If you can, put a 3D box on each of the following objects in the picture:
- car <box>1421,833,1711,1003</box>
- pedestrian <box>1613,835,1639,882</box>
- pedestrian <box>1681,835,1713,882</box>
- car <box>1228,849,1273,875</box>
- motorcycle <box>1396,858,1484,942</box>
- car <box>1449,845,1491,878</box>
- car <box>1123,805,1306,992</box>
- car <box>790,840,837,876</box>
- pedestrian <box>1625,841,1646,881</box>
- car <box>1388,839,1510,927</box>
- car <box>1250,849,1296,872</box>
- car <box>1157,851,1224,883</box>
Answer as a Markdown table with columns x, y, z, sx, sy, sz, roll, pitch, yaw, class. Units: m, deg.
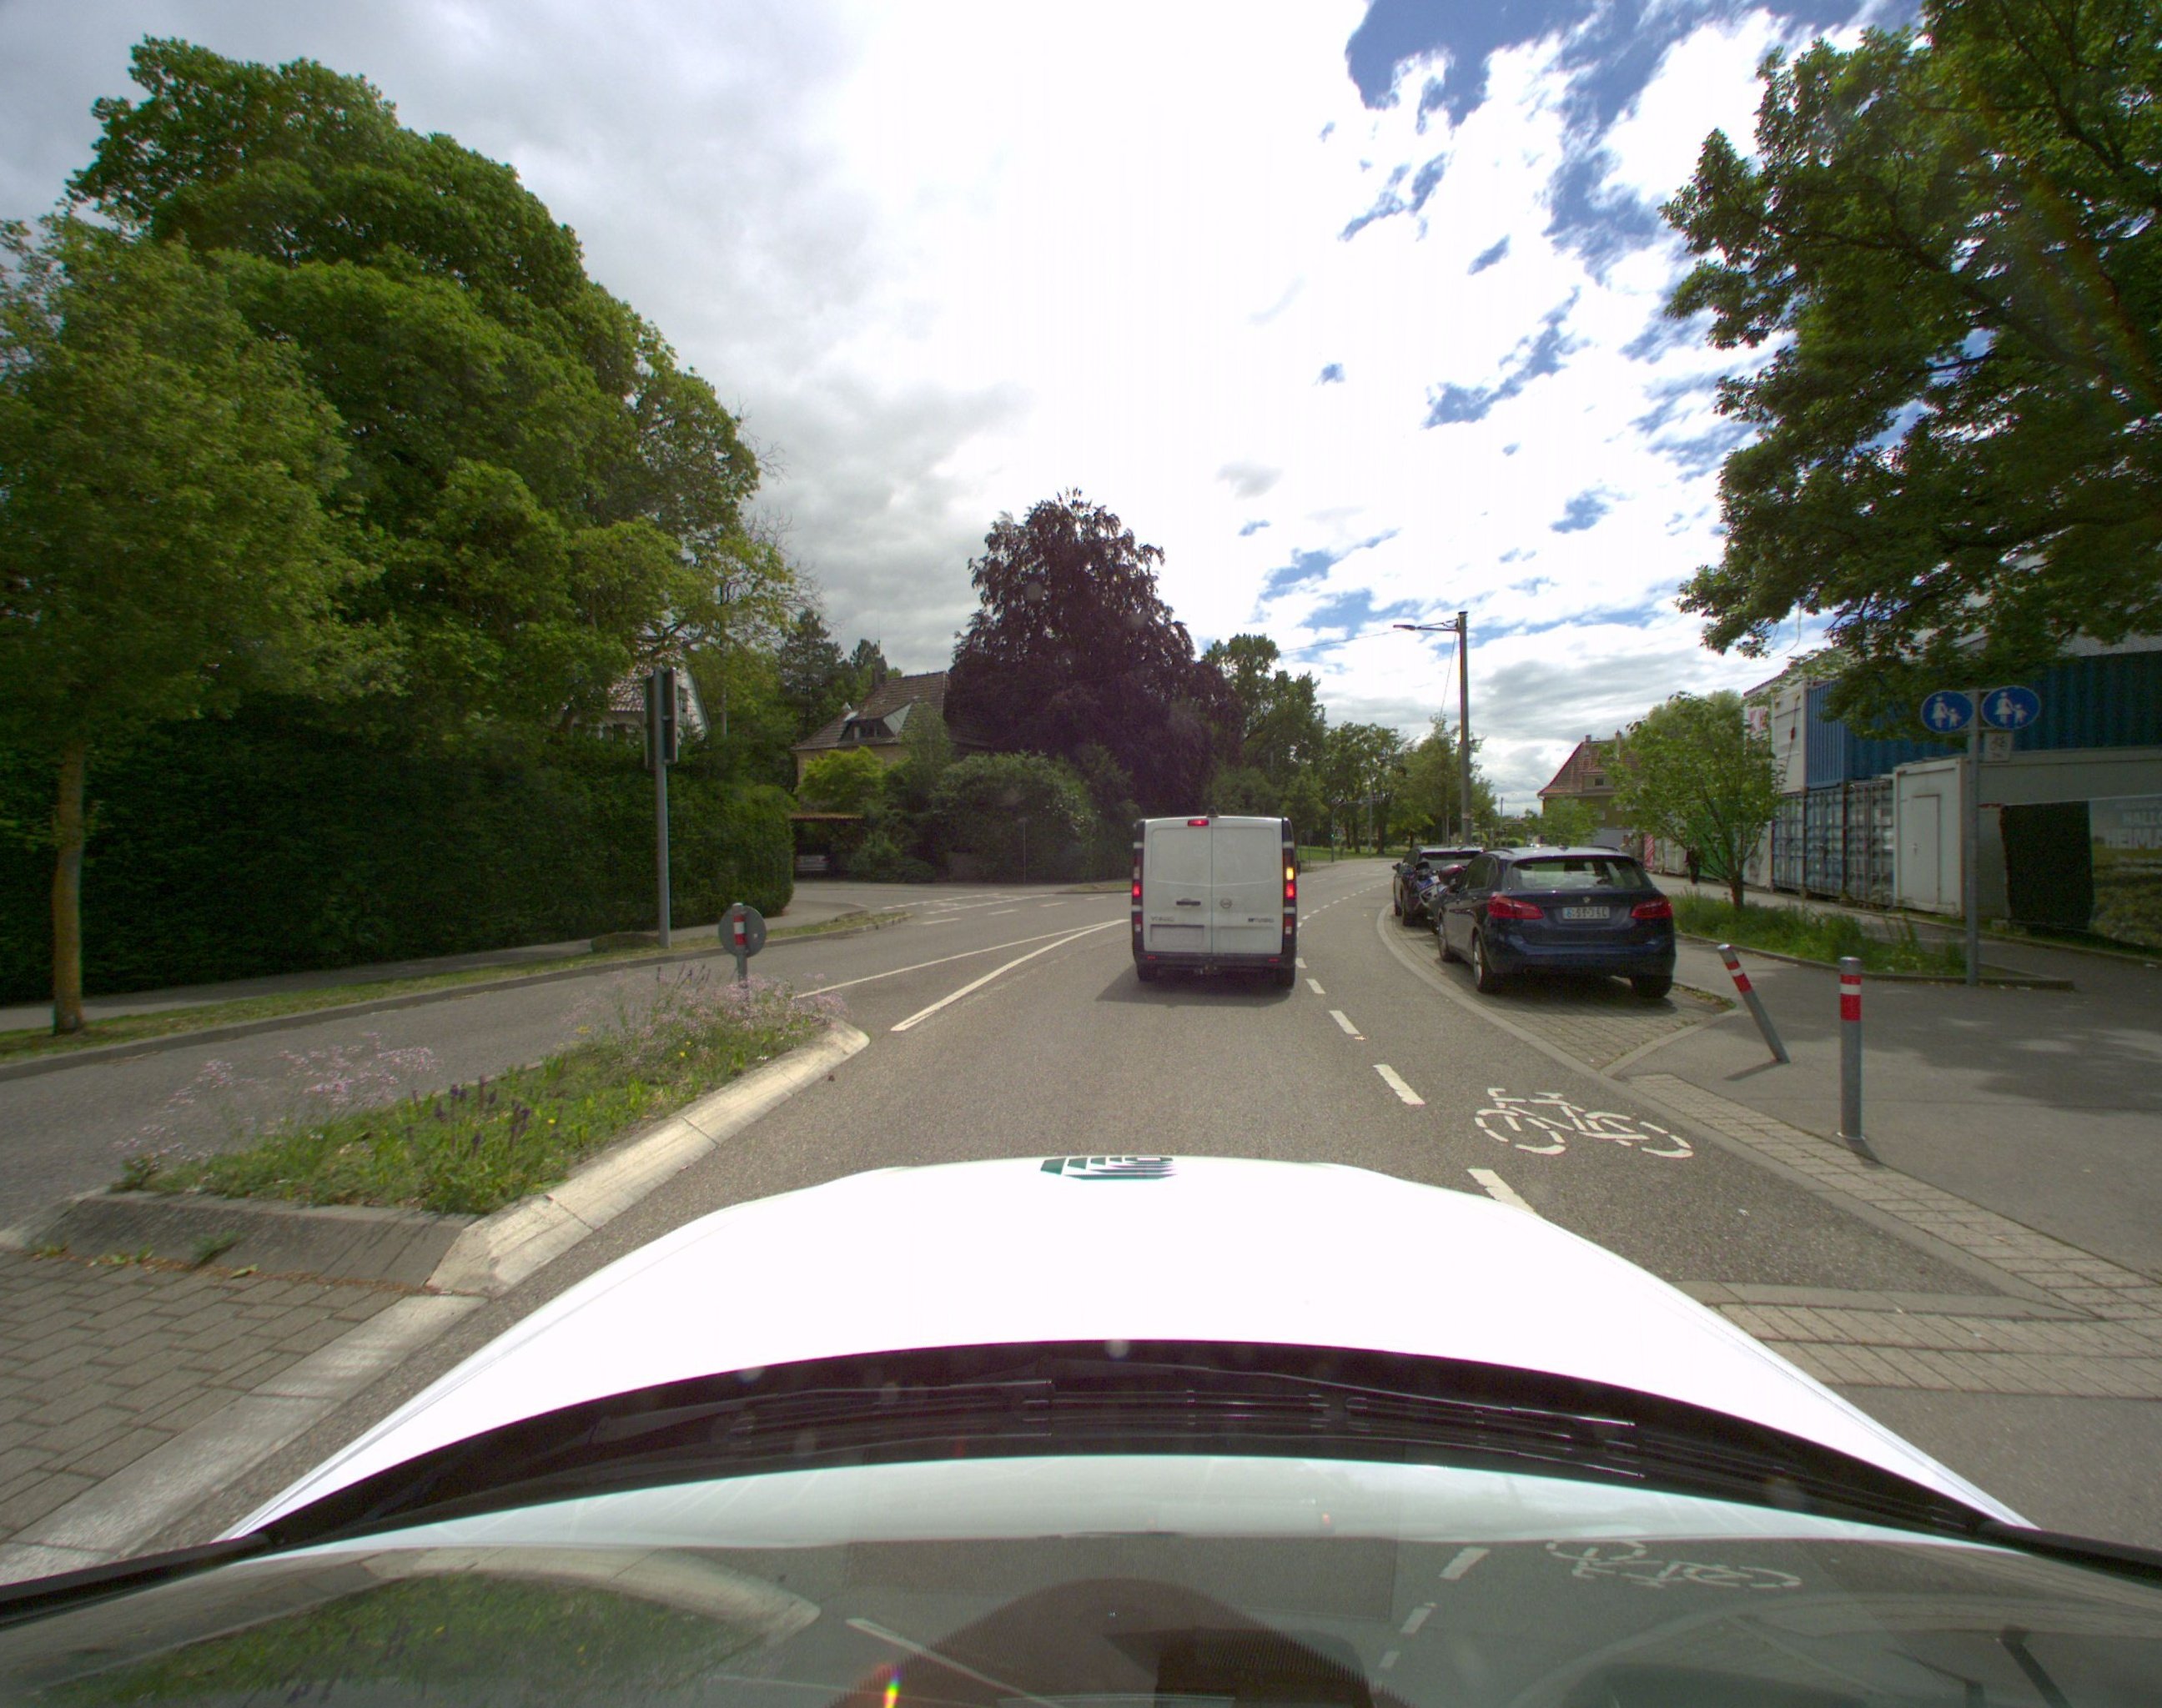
| x | y | z | sx | sy | sz | roll | pitch | yaw | class |
| --- | --- | --- | --- | --- | --- | --- | --- | --- | --- |
| 5.504 | 0.617 | 9.959 | 1.902 | 1.578 | 4.448 | -2 | 0 | 15 | car |
| 20.098 | 0.149 | 30.032 | 0.645 | 1.696 | 0.728 | 0 | 0 | 20 | pedestrian |
| 21.396 | 0.146 | 28.306 | 0.736 | 1.618 | 0.772 | 0 | 0 | 25 | pedestrian |
| 10.034 | 0.467 | 48.098 | 1.580 | 1.450 | 3.618 | 1 | 1 | 29 | car |
| 6.239 | 0.753 | 14.288 | 1.063 | 1.305 | 2.270 | -3 | -1 | 16 | motorcycle |
| 21.002 | 0.387 | 43.876 | 1.720 | 1.616 | 4.413 | -3 | -1 | 28 | car |
| 1.963 | 0.466 | 11.096 | 1.925 | 1.960 | 4.850 | 0 | 0 | 13 | car |
| -11.793 | 0.132 | 36.052 | 1.726 | 1.509 | 3.980 | 0 | 1 | -15 | car |
| 23.715 | 0.284 | 34.841 | 0.646 | 1.697 | 0.849 | 0 | 0 | 25 | pedestrian |
| 7.830 | 0.552 | 17.762 | 1.863 | 1.621 | 4.869 | -2 | 0 | 18 | car |
| 12.263 | 0.357 | 51.819 | 1.679 | 1.365 | 4.715 | 2 | 1 | 28 | car |
| 5.306 | 0.569 | 39.017 | 1.645 | 1.378 | 4.594 | 1 | 1 | 28 | car |
